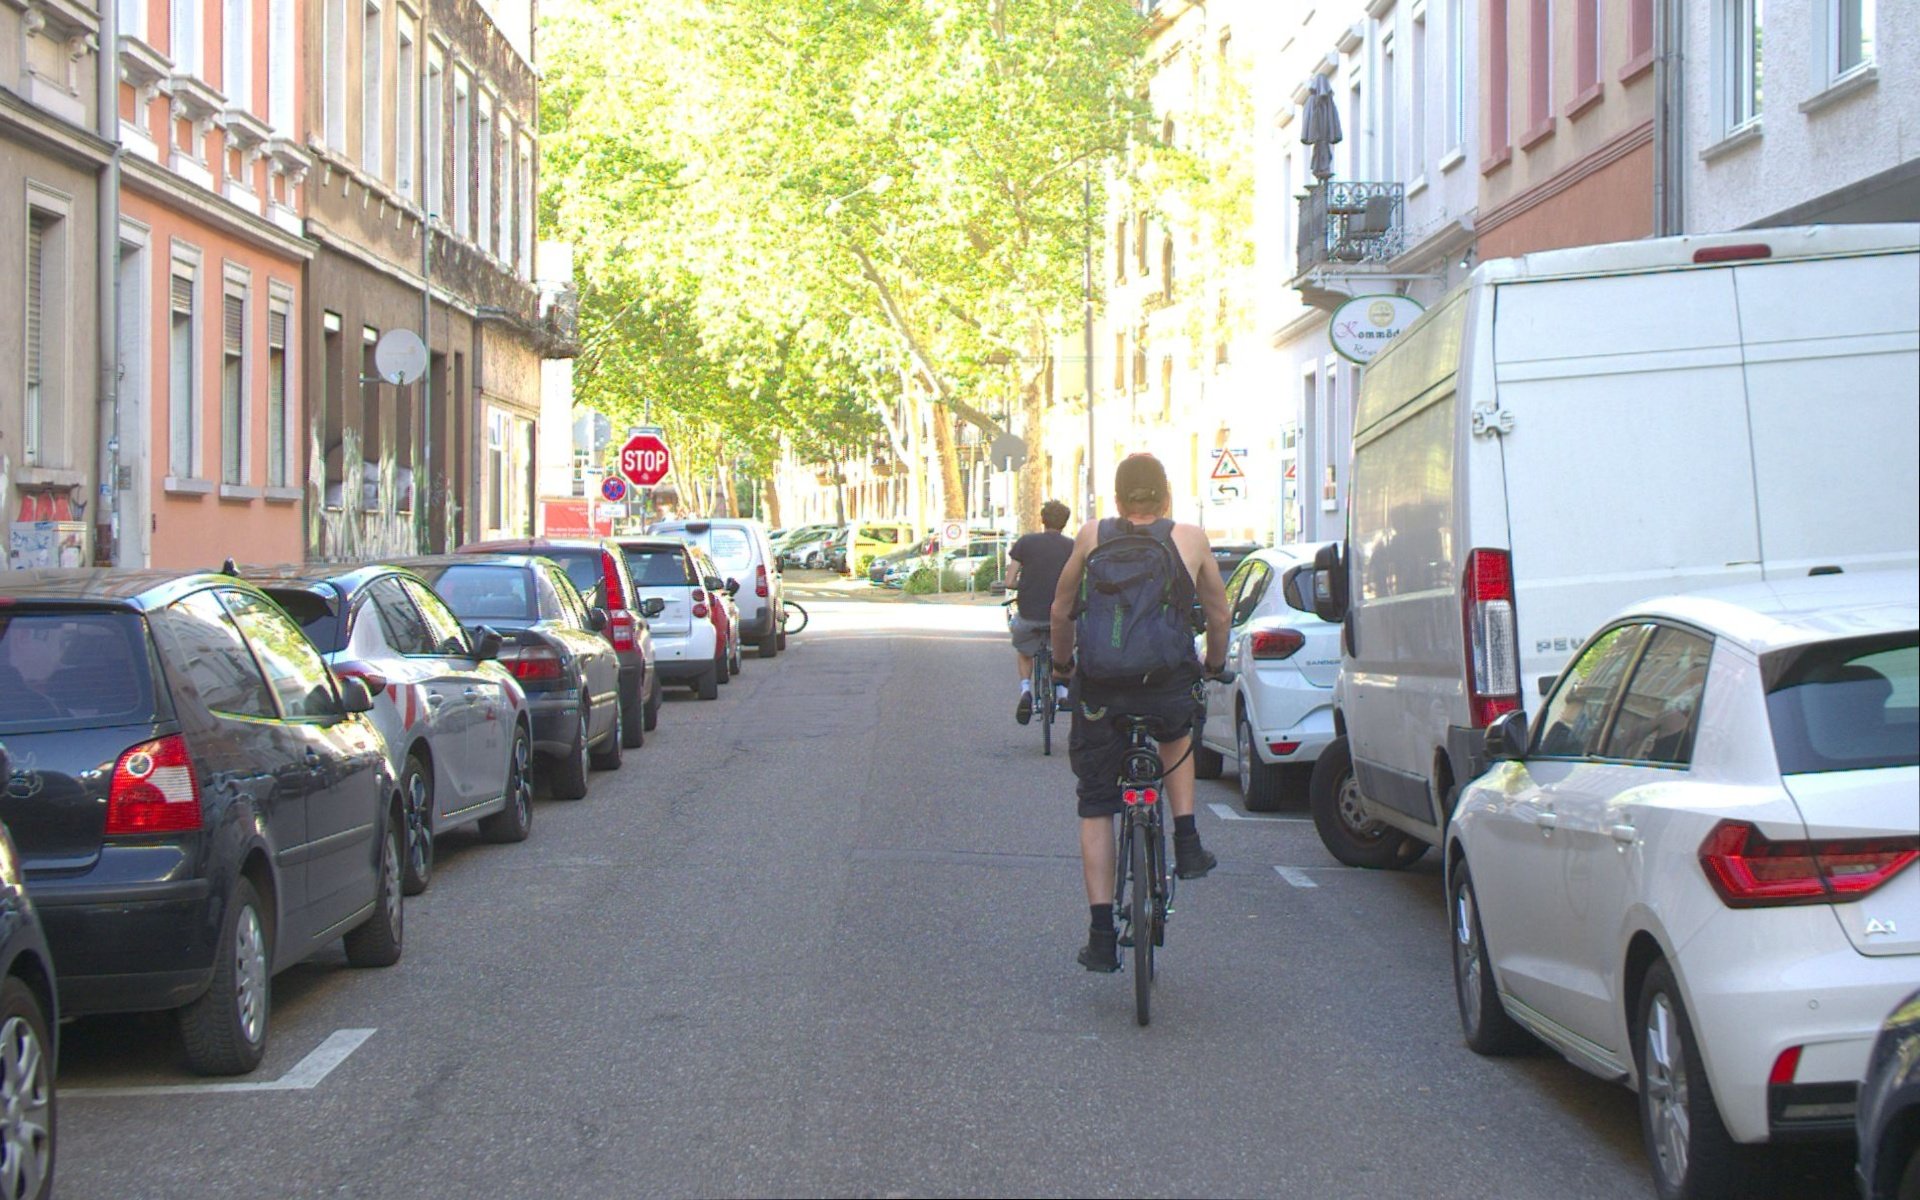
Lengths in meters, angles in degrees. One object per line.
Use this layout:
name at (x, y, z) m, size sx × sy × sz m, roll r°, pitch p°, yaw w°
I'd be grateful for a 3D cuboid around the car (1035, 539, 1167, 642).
car at (2.096, -0.171, 51.915) m, size 1.686 × 1.466 × 3.575 m, roll 0°, pitch 1°, yaw -2°

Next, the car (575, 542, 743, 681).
car at (-3.207, 0.088, 37.154) m, size 1.552 × 1.395 × 3.668 m, roll 0°, pitch 1°, yaw -1°

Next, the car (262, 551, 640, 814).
car at (-2.998, 0.423, 21.057) m, size 1.706 × 1.409 × 4.302 m, roll 0°, pitch 1°, yaw -1°

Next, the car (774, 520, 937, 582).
car at (-2.949, -1.390, 96.652) m, size 4.468 × 1.690 × 1.867 m, roll 0°, pitch 1°, yaw -5°

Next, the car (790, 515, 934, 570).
car at (-3.146, -1.846, 109.873) m, size 4.468 × 1.690 × 1.867 m, roll 0°, pitch 1°, yaw -5°

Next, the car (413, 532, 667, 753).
car at (-3.113, 0.267, 26.015) m, size 1.604 × 1.525 × 3.379 m, roll -1°, pitch 1°, yaw -2°

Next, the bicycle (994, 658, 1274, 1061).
bicycle at (0.526, 0.786, 11.187) m, size 0.740 × 1.097 × 2.042 m, roll 2°, pitch 1°, yaw -1°

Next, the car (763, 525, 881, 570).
car at (-5.328, -2.017, 132.280) m, size 4.468 × 1.690 × 1.867 m, roll 0°, pitch 1°, yaw -5°

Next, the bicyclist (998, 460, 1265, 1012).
bicyclist at (0.533, 0.408, 11.106) m, size 0.740 × 1.673 × 1.117 m, roll 2°, pitch 1°, yaw -1°

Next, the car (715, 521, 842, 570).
car at (-6.500, -1.962, 122.877) m, size 4.468 × 1.690 × 1.867 m, roll 0°, pitch 1°, yaw -5°

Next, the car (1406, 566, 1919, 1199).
car at (2.343, 0.649, 9.010) m, size 1.725 × 1.424 × 3.833 m, roll 0°, pitch 1°, yaw -2°

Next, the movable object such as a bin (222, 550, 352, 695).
movable object such as a bin at (-5.600, 0.178, 28.636) m, size 0.834 × 1.122 × 0.716 m, roll -5°, pitch 1°, yaw 2°

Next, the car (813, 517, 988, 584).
car at (-1.571, -1.308, 90.027) m, size 4.468 × 1.690 × 1.867 m, roll 0°, pitch 1°, yaw -5°

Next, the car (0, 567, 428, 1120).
car at (-2.798, 0.638, 11.023) m, size 1.592 × 1.435 × 3.654 m, roll 0°, pitch 1°, yaw 0°

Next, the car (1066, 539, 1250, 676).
car at (2.205, 0.045, 39.234) m, size 1.710 × 1.465 × 4.001 m, roll 0°, pitch 1°, yaw -2°

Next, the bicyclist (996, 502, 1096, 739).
bicyclist at (0.607, 0.134, 24.488) m, size 0.669 × 1.653 × 0.877 m, roll 0°, pitch 1°, yaw 0°

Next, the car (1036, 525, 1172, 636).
car at (2.348, -0.348, 57.043) m, size 1.893 × 1.763 × 4.001 m, roll 0°, pitch 1°, yaw -3°

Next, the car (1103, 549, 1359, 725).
car at (2.189, 0.256, 28.685) m, size 1.657 × 1.334 × 4.001 m, roll 0°, pitch 1°, yaw -2°

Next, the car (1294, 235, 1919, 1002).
car at (2.728, 0.000, 14.443) m, size 2.204 × 2.542 × 6.036 m, roll 0°, pitch 1°, yaw 1°

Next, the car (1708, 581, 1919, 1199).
car at (2.645, 0.733, 3.966) m, size 1.811 × 1.473 × 4.610 m, roll -3°, pitch 2°, yaw -10°

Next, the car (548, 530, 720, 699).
car at (-3.126, 0.098, 33.389) m, size 1.544 × 1.545 × 3.466 m, roll 0°, pitch 1°, yaw -4°

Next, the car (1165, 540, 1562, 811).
car at (2.349, 0.380, 20.981) m, size 1.731 × 1.465 × 4.022 m, roll 0°, pitch 1°, yaw -3°

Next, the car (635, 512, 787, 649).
car at (-3.258, -0.289, 45.587) m, size 1.787 × 1.731 × 3.876 m, roll 0°, pitch 1°, yaw -1°

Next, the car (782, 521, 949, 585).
car at (-2.609, -1.290, 94.147) m, size 4.468 × 1.690 × 1.867 m, roll 0°, pitch 1°, yaw -5°

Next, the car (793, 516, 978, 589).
car at (-1.859, -1.180, 84.930) m, size 4.468 × 1.753 × 1.867 m, roll 0°, pitch 1°, yaw -5°

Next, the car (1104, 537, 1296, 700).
car at (2.303, 0.138, 33.777) m, size 1.592 × 1.487 × 3.876 m, roll 0°, pitch 1°, yaw 0°

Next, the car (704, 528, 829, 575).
car at (-7.072, -1.775, 125.411) m, size 4.468 × 1.690 × 1.867 m, roll 0°, pitch 1°, yaw -5°

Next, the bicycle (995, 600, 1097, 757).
bicycle at (0.601, 0.538, 24.614) m, size 0.664 × 1.034 × 1.959 m, roll 0°, pitch 1°, yaw -1°

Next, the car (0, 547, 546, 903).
car at (-3.055, 0.484, 15.997) m, size 1.674 × 1.425 × 3.888 m, roll 0°, pitch 1°, yaw 2°

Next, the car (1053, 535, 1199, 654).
car at (2.200, -0.109, 46.340) m, size 1.652 × 1.525 × 3.575 m, roll 0°, pitch 1°, yaw -2°

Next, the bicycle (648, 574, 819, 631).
bicycle at (-3.634, 0.040, 55.141) m, size 2.715 × 0.889 × 0.619 m, roll 0°, pitch 1°, yaw -3°

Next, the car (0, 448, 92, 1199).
car at (-2.932, 0.576, 6.041) m, size 1.801 × 1.692 × 4.000 m, roll -2°, pitch 1°, yaw -1°
